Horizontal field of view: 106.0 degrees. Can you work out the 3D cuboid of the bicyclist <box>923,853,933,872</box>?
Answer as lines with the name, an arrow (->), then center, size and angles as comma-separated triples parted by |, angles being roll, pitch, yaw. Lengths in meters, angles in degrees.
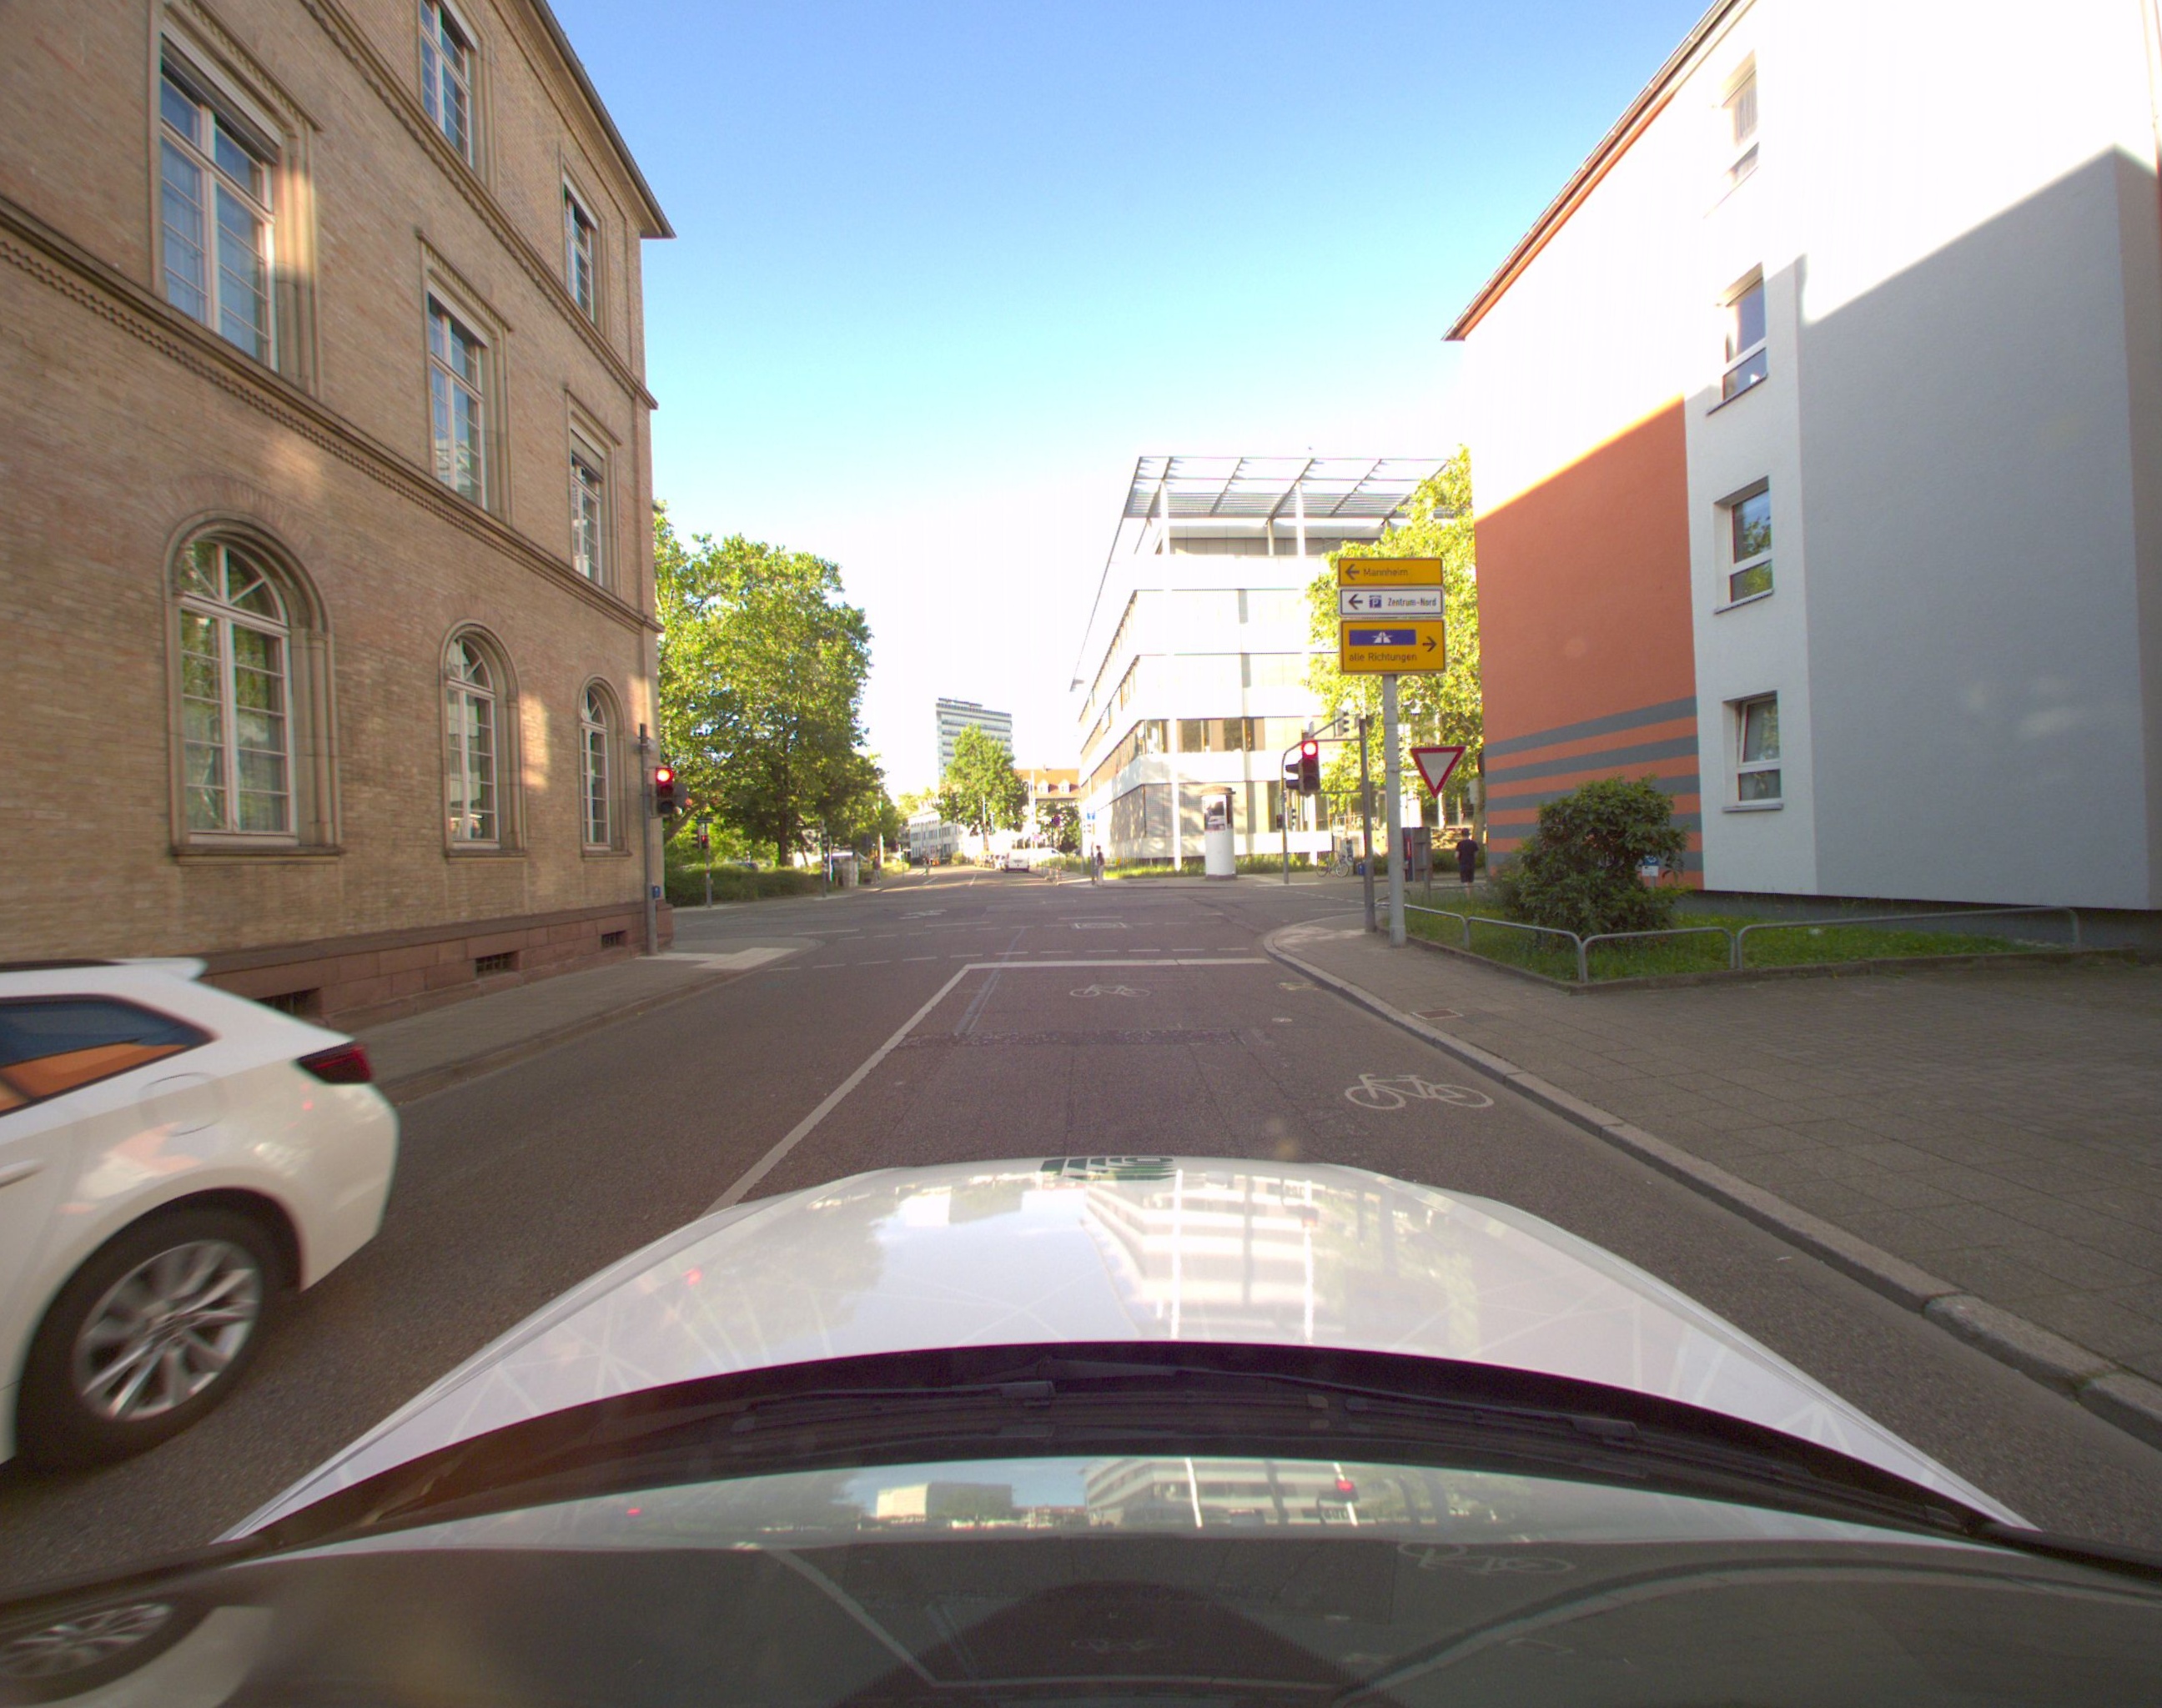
bicyclist -> -12.701, 0.679, 67.634 | 0.615, 1.532, 0.901 | -3, 0, -7

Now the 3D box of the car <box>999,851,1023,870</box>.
car -> -6.338, 0.520, 73.284 | 1.887, 1.555, 4.403 | -2, 1, -8

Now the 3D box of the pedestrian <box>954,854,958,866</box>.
pedestrian -> -16.594, 0.767, 108.162 | 0.435, 1.607, 0.489 | -2, 0, -24

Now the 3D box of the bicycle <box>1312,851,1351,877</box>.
bicycle -> 11.026, 0.434, 35.927 | 0.510, 1.049, 1.670 | -4, 3, -33

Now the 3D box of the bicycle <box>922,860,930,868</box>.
bicycle -> -20.384, 1.291, 107.368 | 0.865, 1.009, 2.407 | -5, 0, -8

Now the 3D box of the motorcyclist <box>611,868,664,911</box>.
motorcyclist -> -15.305, 1.219, 28.130 | 1.290, 1.419, 0.821 | -2, 0, 0

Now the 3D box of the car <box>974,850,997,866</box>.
car -> -11.281, 0.447, 95.977 | 1.893, 1.655, 4.390 | -2, 1, -16

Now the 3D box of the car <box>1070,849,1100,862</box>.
car -> 0.501, 0.202, 104.445 | 3.563, 1.546, 1.549 | -2, 0, -17

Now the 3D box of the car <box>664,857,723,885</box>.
car -> -37.174, 1.626, 78.131 | 4.551, 2.391, 2.069 | -3, 0, -7

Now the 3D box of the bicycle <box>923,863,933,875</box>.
bicycle -> -12.679, 1.214, 67.621 | 0.615, 0.969, 1.837 | -3, 0, -7

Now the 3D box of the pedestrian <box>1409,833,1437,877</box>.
pedestrian -> 14.315, 0.034, 34.130 | 0.834, 1.840, 0.707 | 0, 0, -8

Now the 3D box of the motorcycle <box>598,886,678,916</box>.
motorcycle -> -15.277, 1.609, 28.125 | 2.290, 0.888, 0.821 | -2, 0, 0

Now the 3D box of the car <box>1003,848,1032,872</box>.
car -> -5.108, 0.463, 65.049 | 2.084, 1.795, 4.403 | -2, 1, -8

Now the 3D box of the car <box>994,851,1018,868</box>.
car -> -7.273, 0.496, 78.682 | 1.889, 1.555, 4.398 | -2, 1, -11

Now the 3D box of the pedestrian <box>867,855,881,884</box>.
pedestrian -> -12.859, 0.948, 50.633 | 0.703, 1.723, 0.951 | -3, 0, -11

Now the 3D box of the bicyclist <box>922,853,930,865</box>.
bicyclist -> -20.426, 0.686, 107.385 | 0.865, 1.515, 1.016 | -5, 0, -9

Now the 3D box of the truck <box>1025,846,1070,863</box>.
truck -> -4.250, 0.097, 103.374 | 5.351, 2.013, 1.988 | -2, 0, -17

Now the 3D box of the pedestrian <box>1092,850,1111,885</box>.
pedestrian -> 0.921, 0.615, 37.337 | 0.561, 1.540, 0.673 | -5, 1, -16

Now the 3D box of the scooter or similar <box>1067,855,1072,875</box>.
scooter or similar -> -0.831, 0.773, 58.761 | 0.329, 1.424, 1.333 | 0, -1, -4

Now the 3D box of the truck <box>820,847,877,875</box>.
truck -> -21.614, 0.599, 75.842 | 4.825, 2.399, 2.082 | -2, 0, -8

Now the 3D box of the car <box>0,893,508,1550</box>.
car -> -3.579, 0.977, 1.277 | 1.879, 1.476, 4.548 | -4, 0, 3

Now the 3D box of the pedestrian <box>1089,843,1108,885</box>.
pedestrian -> 0.829, 0.457, 37.946 | 0.555, 1.850, 0.680 | -5, 1, 18

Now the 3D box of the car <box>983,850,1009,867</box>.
car -> -9.031, 0.453, 85.979 | 1.893, 1.655, 4.390 | -2, 1, -16

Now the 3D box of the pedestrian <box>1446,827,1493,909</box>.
pedestrian -> 8.919, 0.315, 18.733 | 0.704, 1.840, 0.837 | 0, 0, 1
